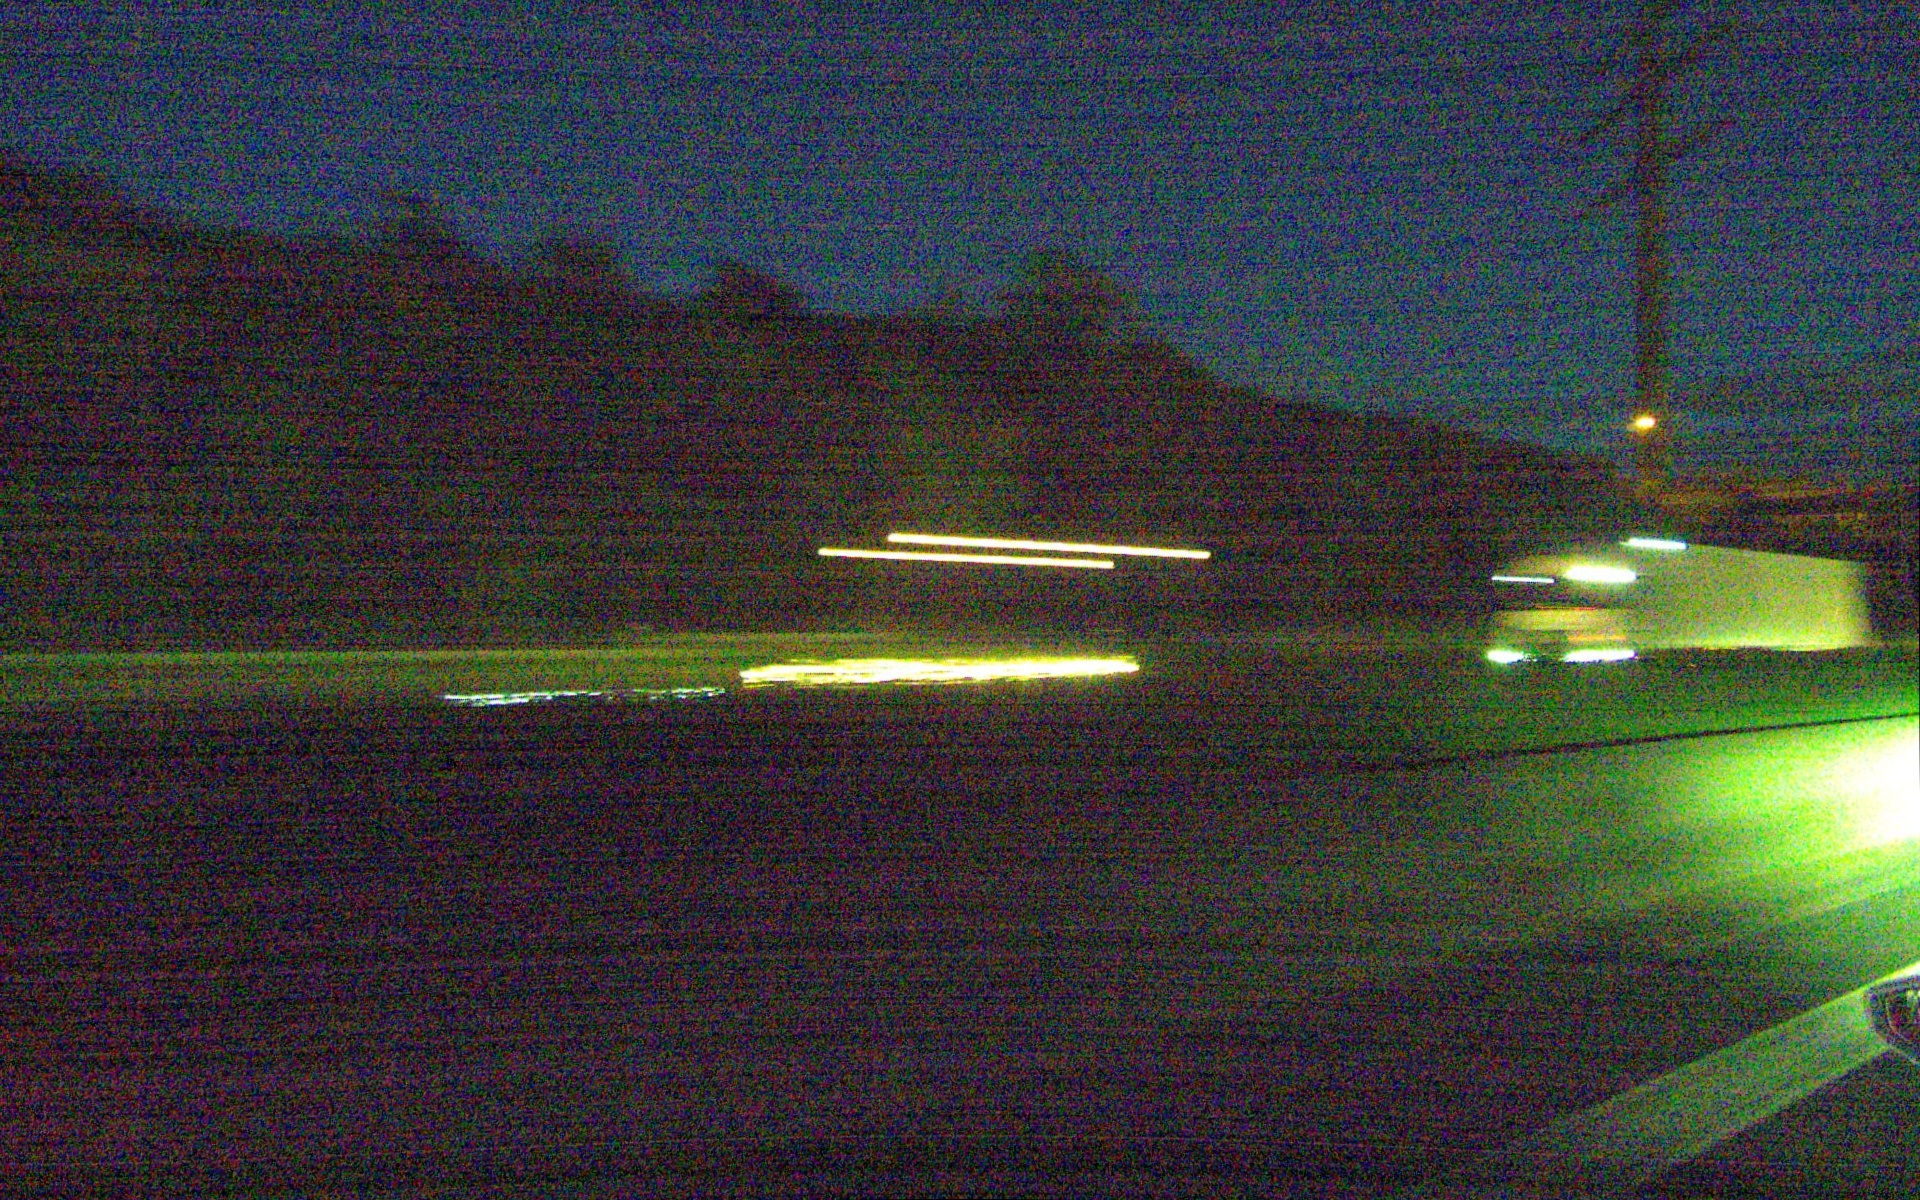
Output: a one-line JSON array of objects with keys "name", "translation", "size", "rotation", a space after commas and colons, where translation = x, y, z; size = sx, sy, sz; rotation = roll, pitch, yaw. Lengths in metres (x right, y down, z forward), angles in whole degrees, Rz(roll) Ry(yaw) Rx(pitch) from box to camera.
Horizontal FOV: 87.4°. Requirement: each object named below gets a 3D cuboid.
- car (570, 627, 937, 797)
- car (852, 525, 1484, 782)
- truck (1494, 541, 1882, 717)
[{"name": "car", "translation": [-2.688, 1.321, 13.382], "size": [4.449, 1.785, 1.889], "rotation": [0, 1, -32]}, {"name": "car", "translation": [2.440, 0.401, 10.655], "size": [6.861, 2.041, 2.198], "rotation": [0, 1, -30]}, {"name": "truck", "translation": [23.548, 0.715, 31.717], "size": [17.231, 4.549, 3.231], "rotation": [0, 1, -30]}]
